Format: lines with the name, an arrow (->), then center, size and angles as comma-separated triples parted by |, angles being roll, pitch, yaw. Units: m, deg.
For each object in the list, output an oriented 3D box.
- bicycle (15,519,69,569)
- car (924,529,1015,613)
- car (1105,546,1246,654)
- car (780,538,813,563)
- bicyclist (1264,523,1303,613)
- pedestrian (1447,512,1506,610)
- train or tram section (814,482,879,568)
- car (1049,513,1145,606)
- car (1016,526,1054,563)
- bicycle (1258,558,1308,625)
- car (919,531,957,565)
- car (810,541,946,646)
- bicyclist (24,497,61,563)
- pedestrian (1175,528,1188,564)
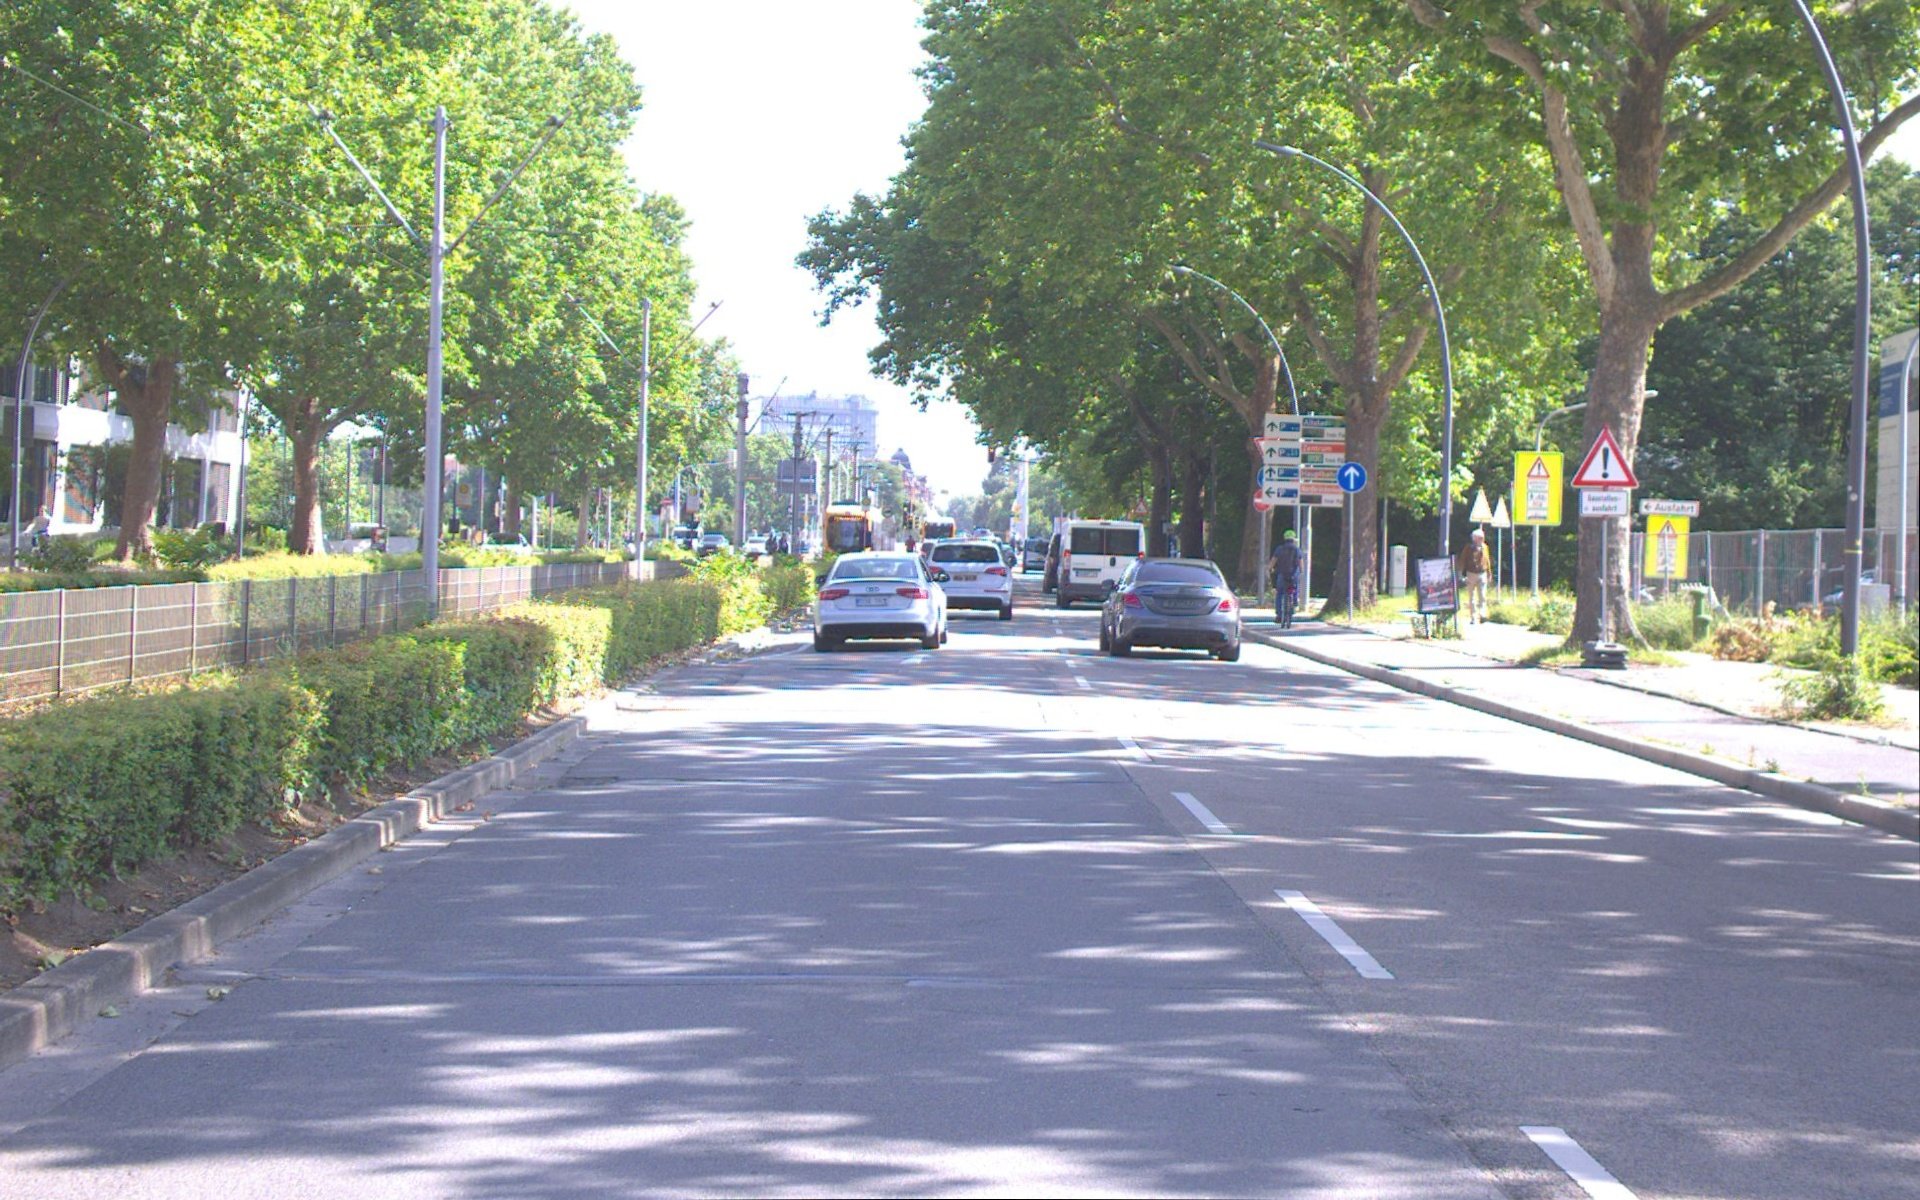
bicycle -> -21.560, -1.313, 80.744 | 0.664, 1.120, 2.031 | 2, 1, 1
car -> 0.212, -0.601, 69.400 | 1.729, 1.599, 3.885 | 2, 1, 1
car -> 3.048, -0.036, 49.343 | 1.782, 1.415, 4.000 | 2, 1, 1
car -> -11.707, -3.537, 246.129 | 1.993, 1.728, 4.000 | 2, 1, 1
bicyclist -> 6.051, -0.598, 64.301 | 0.634, 1.642, 0.979 | -1, 2, 0
pedestrian -> 10.204, -0.767, 67.903 | 0.939, 1.886, 1.151 | 2, 1, 1
train or tram section -> -5.523, -3.672, 168.772 | 2.617, 4.001, 7.749 | 2, 1, 1
car -> 3.423, -1.032, 86.549 | 2.230, 2.204, 4.162 | 2, 1, 1
car -> 4.242, -3.161, 195.803 | 2.072, 1.992, 4.058 | 2, 1, 1
bicycle -> 6.037, -0.167, 64.333 | 0.714, 1.144, 2.179 | -1, 3, 0
car -> -1.088, -2.579, 170.132 | 1.729, 1.625, 4.000 | 2, 1, 1
car -> -1.167, -0.127, 50.281 | 1.785, 1.416, 3.885 | 2, 1, 1
bicyclist -> -21.555, -1.647, 80.778 | 0.654, 1.529, 0.641 | 2, 1, 1
pedestrian -> 11.939, -2.916, 185.312 | 0.613, 1.890, 0.694 | 1, 1, -2
